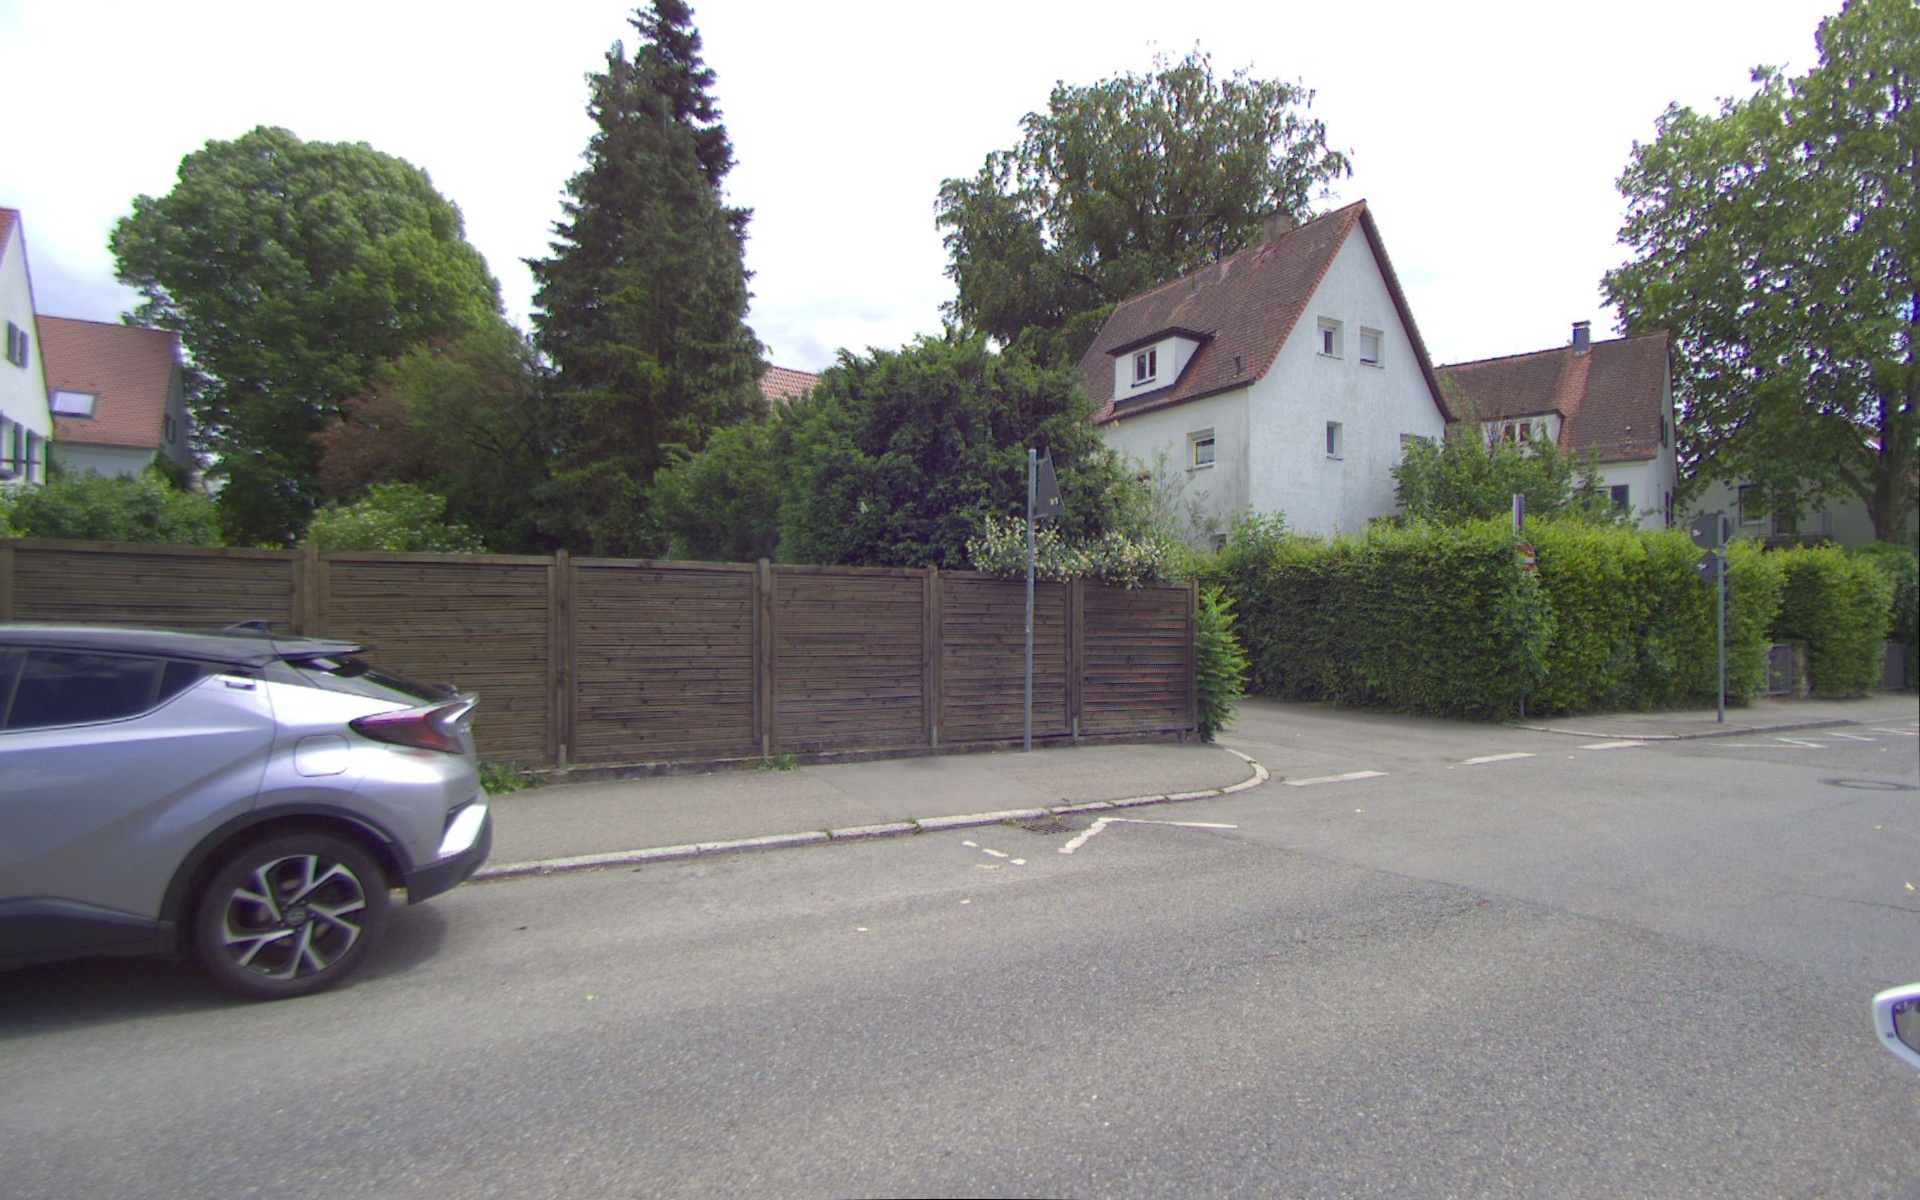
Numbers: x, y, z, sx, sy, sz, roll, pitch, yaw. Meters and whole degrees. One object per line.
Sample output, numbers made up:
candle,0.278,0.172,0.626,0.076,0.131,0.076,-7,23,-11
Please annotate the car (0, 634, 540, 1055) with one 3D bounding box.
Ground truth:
car,-4.334,0.905,4.241,4.588,1.499,1.986,1,-3,-28
